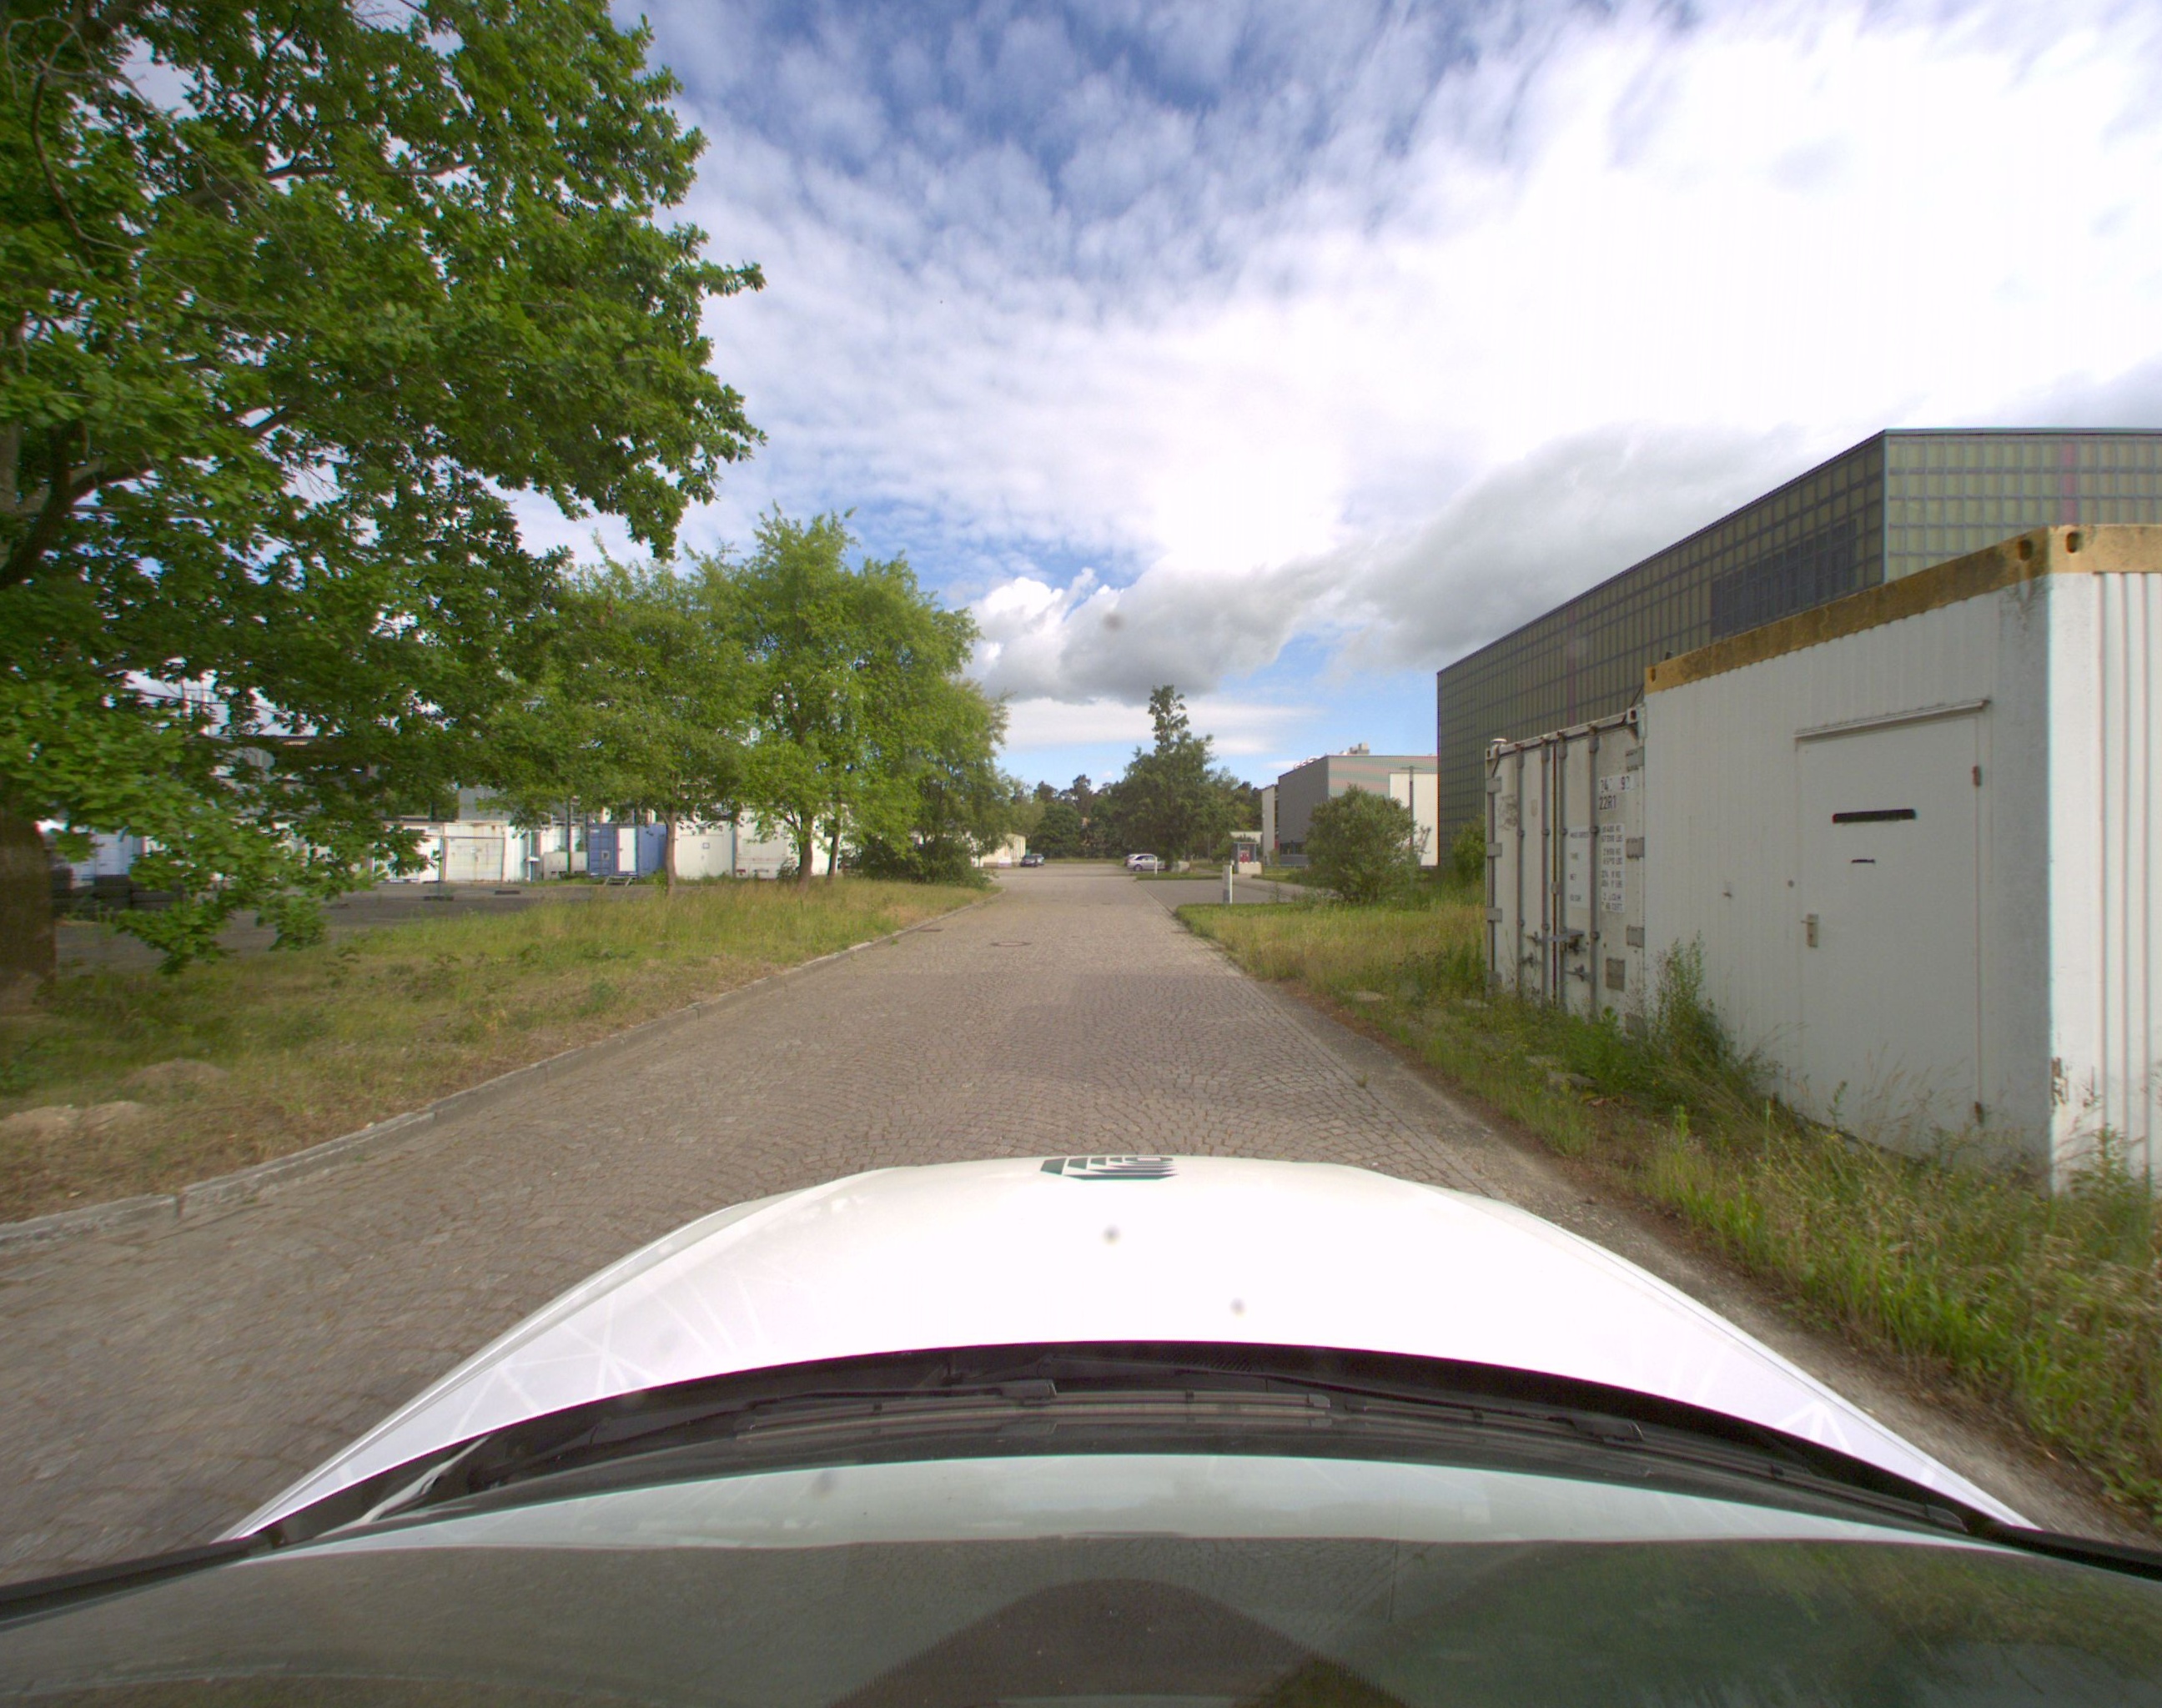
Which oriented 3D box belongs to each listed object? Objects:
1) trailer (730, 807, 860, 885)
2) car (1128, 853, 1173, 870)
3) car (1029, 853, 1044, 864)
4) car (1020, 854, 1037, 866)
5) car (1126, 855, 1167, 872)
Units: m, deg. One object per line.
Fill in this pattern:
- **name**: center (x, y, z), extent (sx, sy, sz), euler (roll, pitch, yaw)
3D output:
- **trailer**: center (-14.551, -0.357, 42.643), extent (2.614, 3.598, 10.187), euler (0, 0, 4)
- **car**: center (6.401, 0.719, 75.242), extent (3.970, 1.448, 1.654), euler (-2, 0, 1)
- **car**: center (-5.686, 0.585, 104.617), extent (1.642, 1.458, 3.999), euler (0, 0, 1)
- **car**: center (-6.044, 0.684, 94.275), extent (1.642, 1.369, 3.999), euler (0, 0, 1)
- **car**: center (5.797, 0.829, 72.555), extent (3.509, 1.362, 1.623), euler (-2, 0, 1)
